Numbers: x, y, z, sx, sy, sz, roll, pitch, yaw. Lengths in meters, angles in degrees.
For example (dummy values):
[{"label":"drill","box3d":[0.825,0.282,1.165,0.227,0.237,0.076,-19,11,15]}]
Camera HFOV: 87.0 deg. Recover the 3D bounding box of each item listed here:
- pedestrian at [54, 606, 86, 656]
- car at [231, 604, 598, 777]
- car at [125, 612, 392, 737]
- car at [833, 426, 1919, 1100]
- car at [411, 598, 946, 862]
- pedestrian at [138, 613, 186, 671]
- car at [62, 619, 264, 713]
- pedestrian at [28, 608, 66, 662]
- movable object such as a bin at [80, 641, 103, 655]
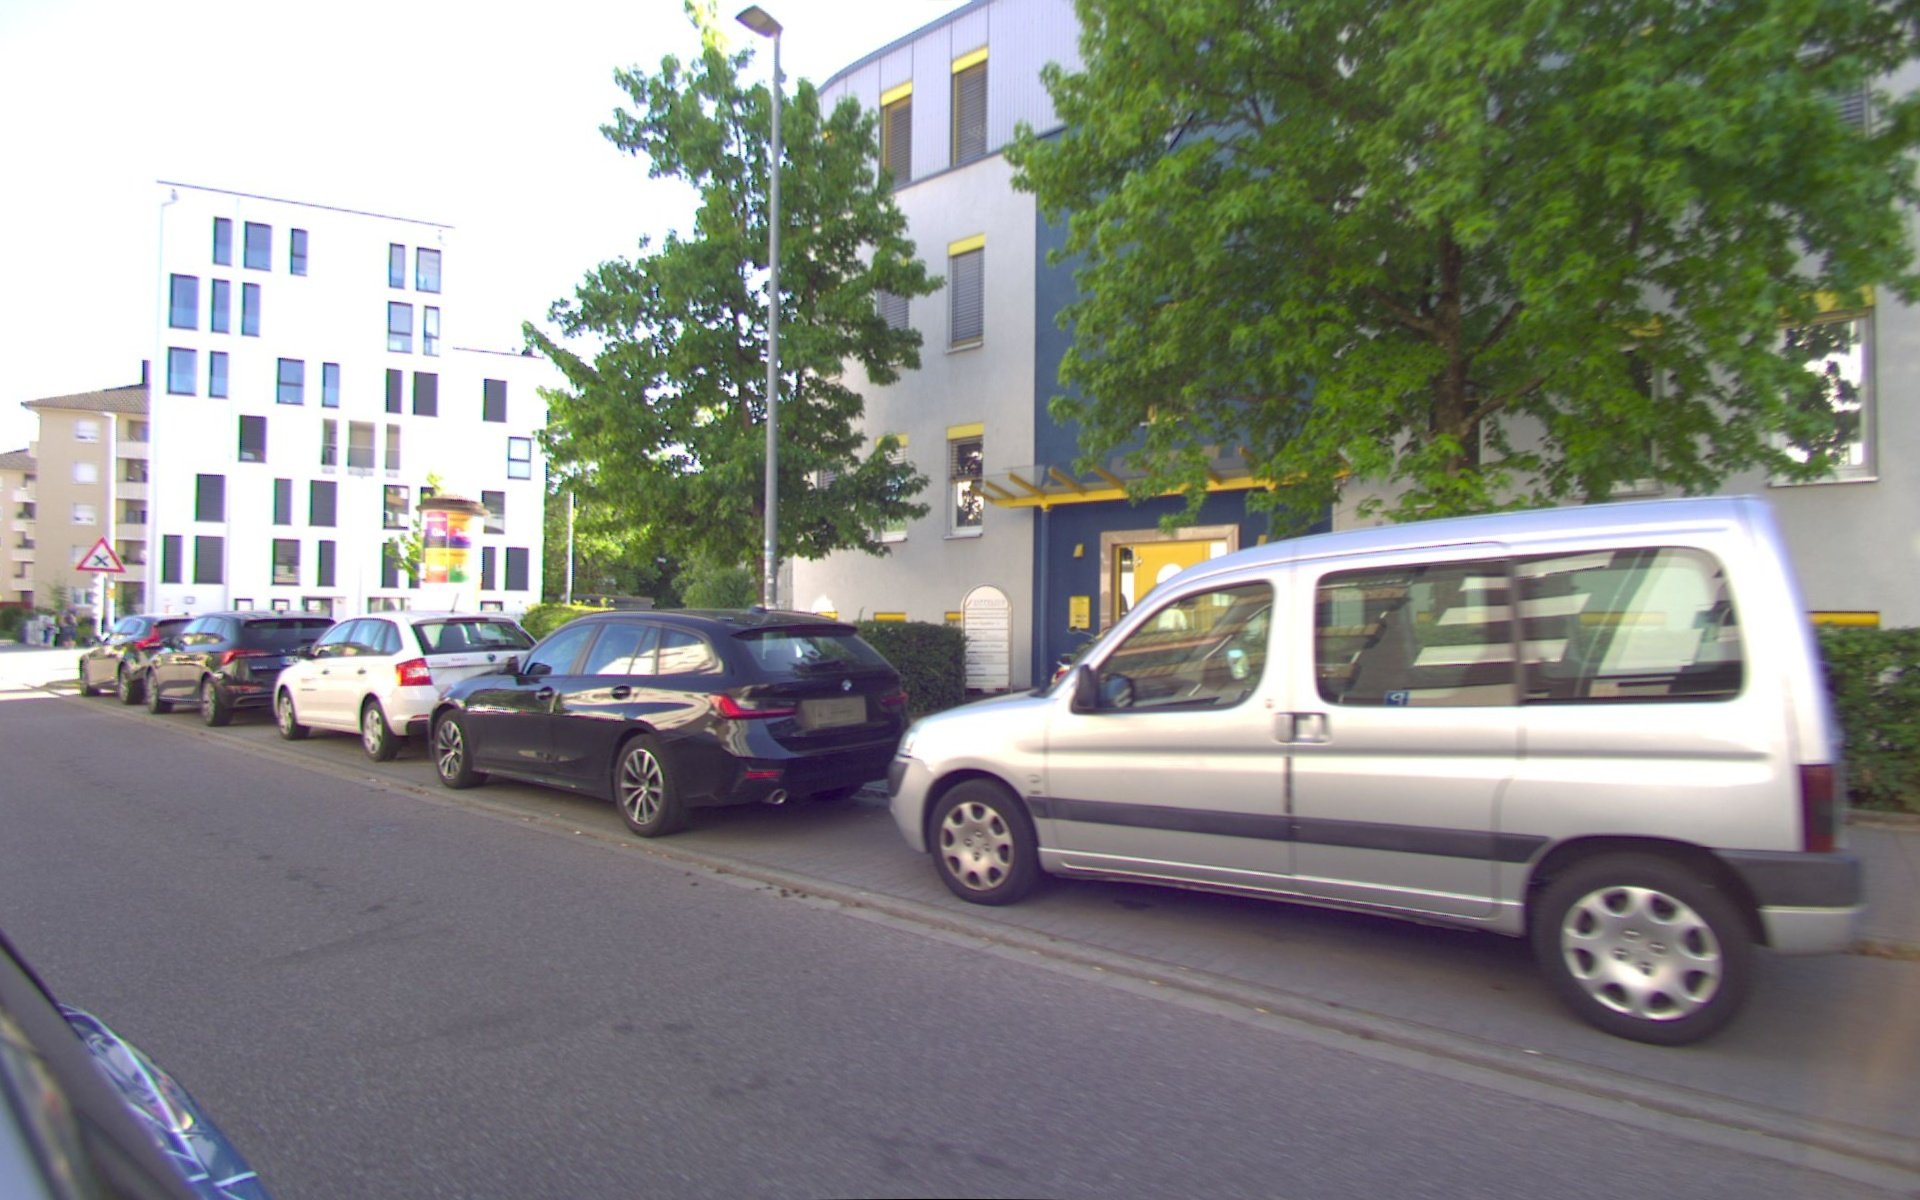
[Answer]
[{"label":"pedestrian","box3d":[-34.211,1.179,38.899,0.778,1.899,0.849,2,0,-35]},{"label":"car","box3d":[-6.165,0.828,11.212,4.618,1.541,1.890,0,-1,38]},{"label":"car","box3d":[-9.981,0.929,14.279,4.374,1.490,1.890,0,-1,38]},{"label":"car","box3d":[1.539,0.499,4.701,4.334,1.853,1.671,-1,-2,38]},{"label":"car","box3d":[-2.381,0.766,7.755,4.609,1.450,1.714,-1,-2,41]},{"label":"pedestrian","box3d":[-24.320,1.275,30.858,0.962,1.727,0.876,1,-2,-29]},{"label":"car","box3d":[-13.665,1.035,17.284,4.218,1.421,1.772,-1,-1,38]},{"label":"pedestrian","box3d":[-36.793,1.398,40.771,0.951,2.137,0.771,-1,-1,19]},{"label":"movable object such as a bin","box3d":[-35.718,1.969,41.629,0.676,0.546,0.272,1,-1,-4]}]
